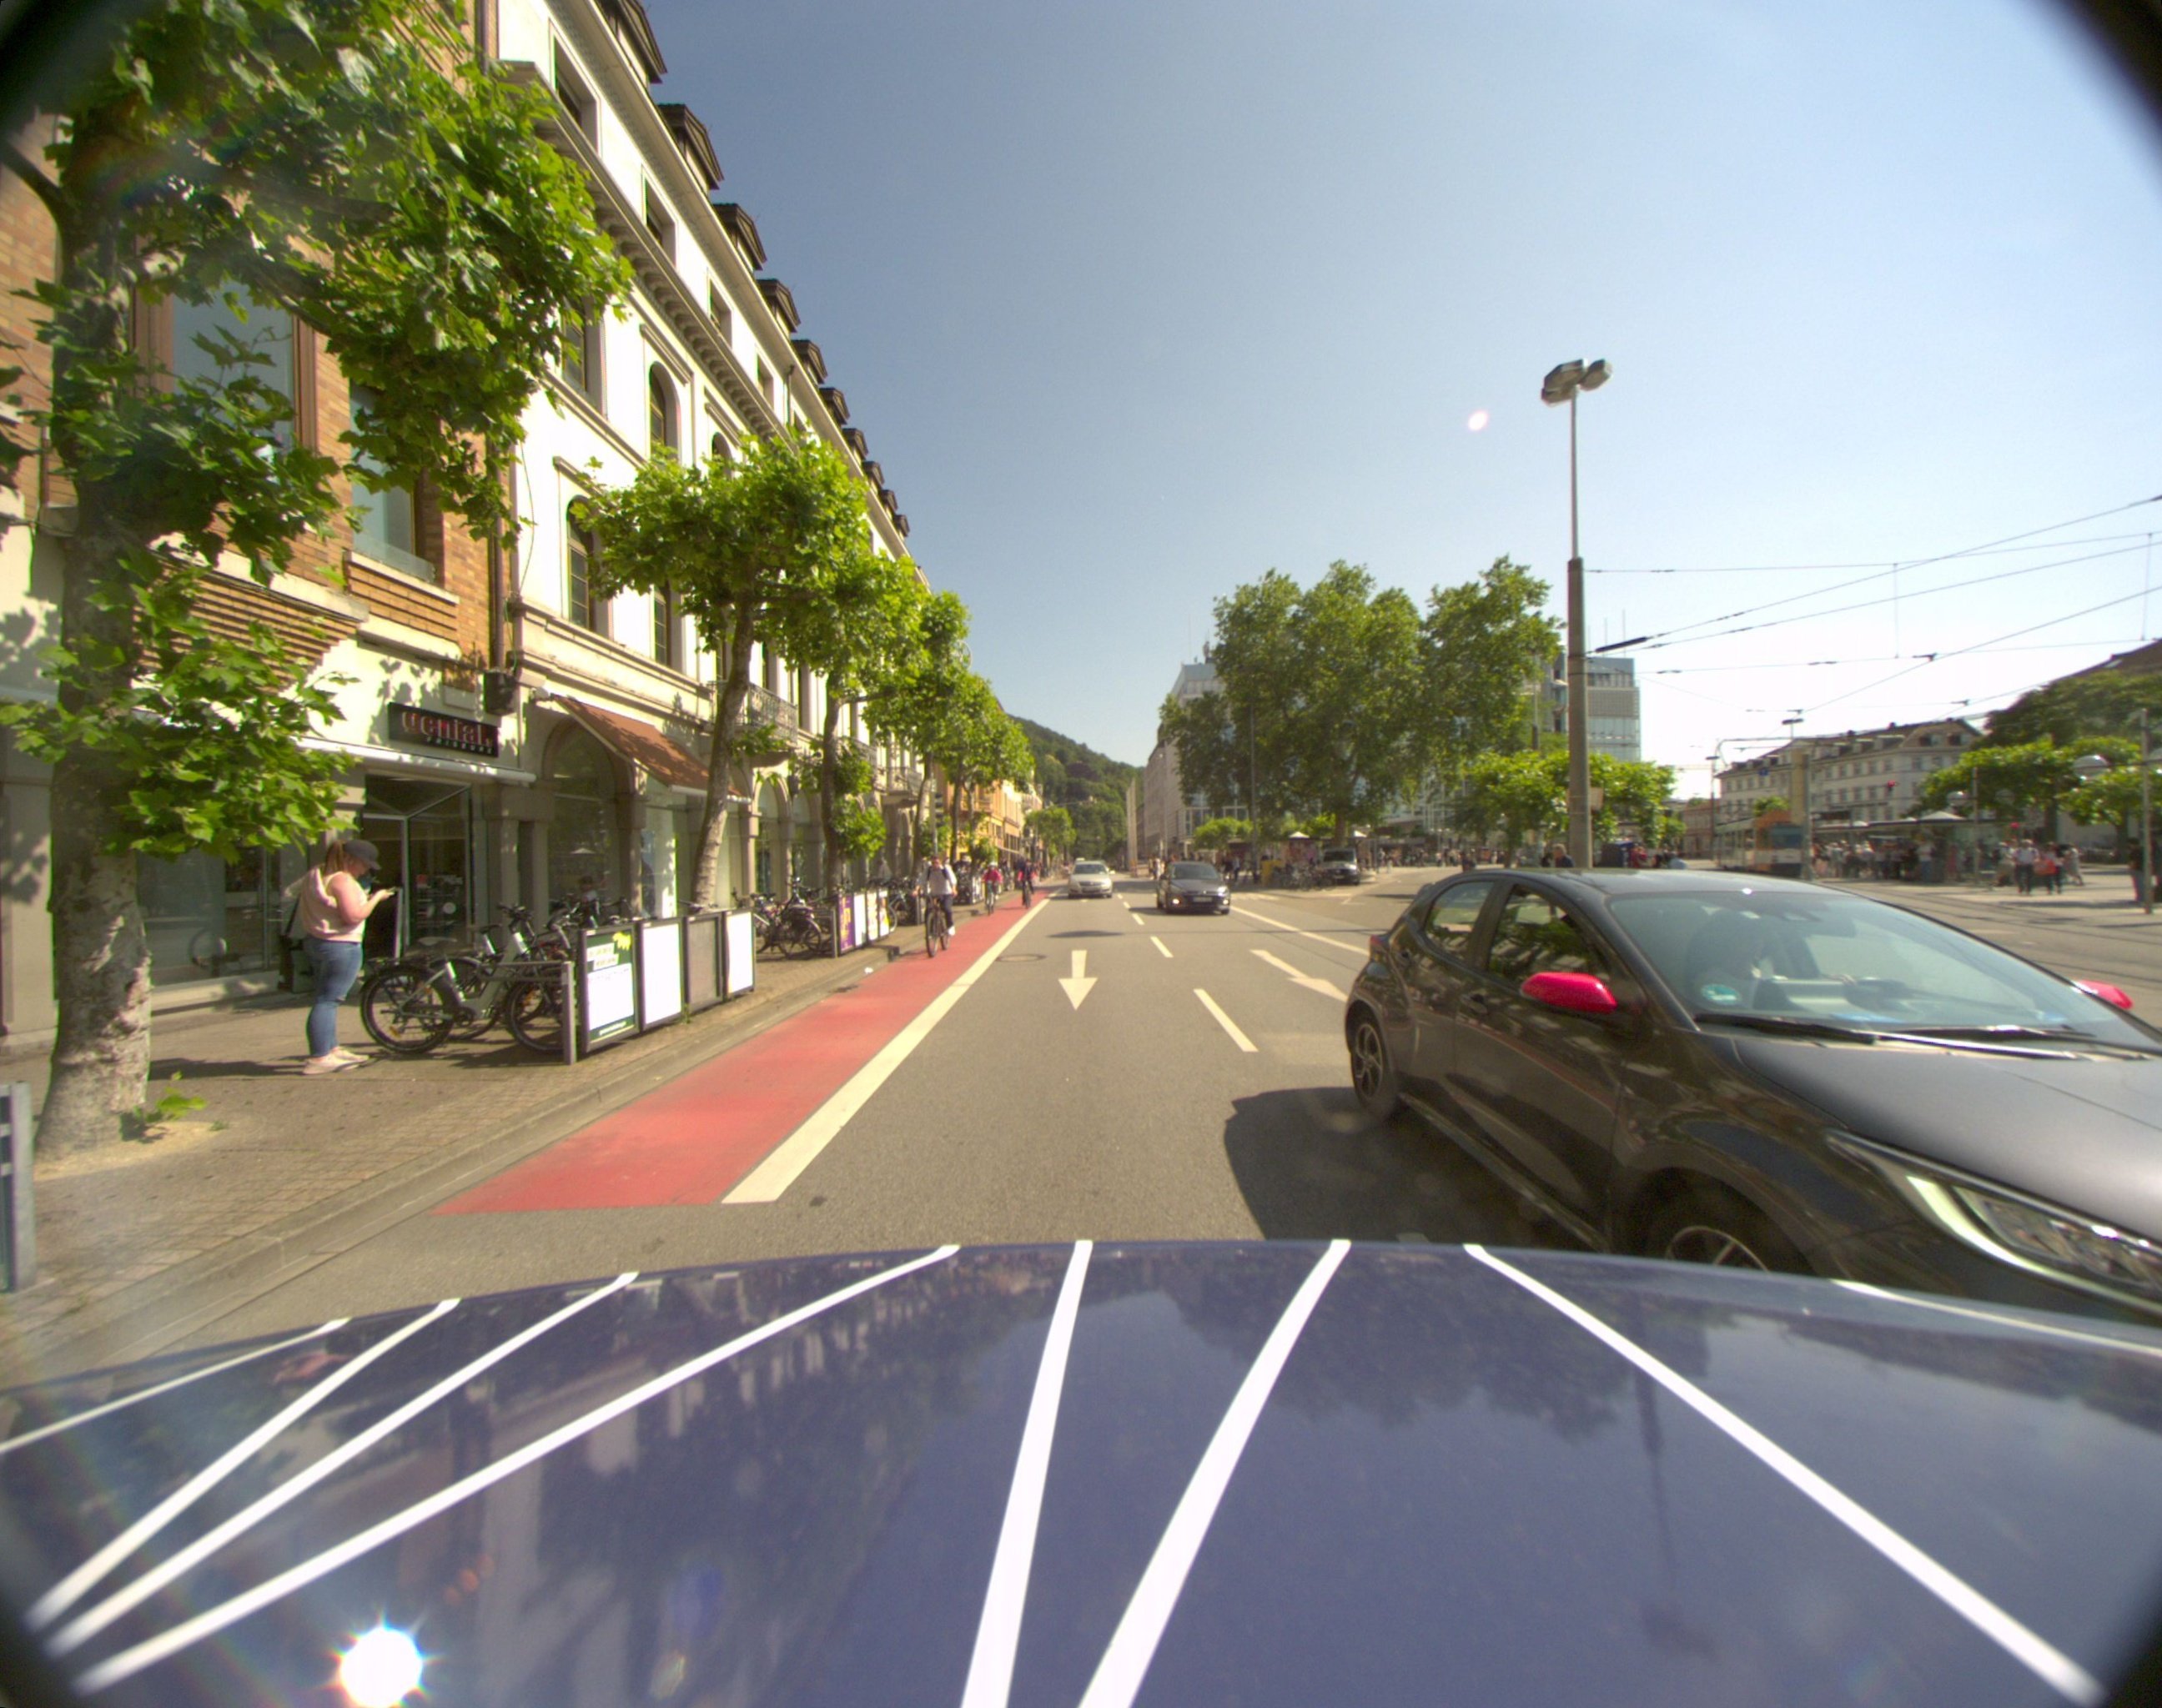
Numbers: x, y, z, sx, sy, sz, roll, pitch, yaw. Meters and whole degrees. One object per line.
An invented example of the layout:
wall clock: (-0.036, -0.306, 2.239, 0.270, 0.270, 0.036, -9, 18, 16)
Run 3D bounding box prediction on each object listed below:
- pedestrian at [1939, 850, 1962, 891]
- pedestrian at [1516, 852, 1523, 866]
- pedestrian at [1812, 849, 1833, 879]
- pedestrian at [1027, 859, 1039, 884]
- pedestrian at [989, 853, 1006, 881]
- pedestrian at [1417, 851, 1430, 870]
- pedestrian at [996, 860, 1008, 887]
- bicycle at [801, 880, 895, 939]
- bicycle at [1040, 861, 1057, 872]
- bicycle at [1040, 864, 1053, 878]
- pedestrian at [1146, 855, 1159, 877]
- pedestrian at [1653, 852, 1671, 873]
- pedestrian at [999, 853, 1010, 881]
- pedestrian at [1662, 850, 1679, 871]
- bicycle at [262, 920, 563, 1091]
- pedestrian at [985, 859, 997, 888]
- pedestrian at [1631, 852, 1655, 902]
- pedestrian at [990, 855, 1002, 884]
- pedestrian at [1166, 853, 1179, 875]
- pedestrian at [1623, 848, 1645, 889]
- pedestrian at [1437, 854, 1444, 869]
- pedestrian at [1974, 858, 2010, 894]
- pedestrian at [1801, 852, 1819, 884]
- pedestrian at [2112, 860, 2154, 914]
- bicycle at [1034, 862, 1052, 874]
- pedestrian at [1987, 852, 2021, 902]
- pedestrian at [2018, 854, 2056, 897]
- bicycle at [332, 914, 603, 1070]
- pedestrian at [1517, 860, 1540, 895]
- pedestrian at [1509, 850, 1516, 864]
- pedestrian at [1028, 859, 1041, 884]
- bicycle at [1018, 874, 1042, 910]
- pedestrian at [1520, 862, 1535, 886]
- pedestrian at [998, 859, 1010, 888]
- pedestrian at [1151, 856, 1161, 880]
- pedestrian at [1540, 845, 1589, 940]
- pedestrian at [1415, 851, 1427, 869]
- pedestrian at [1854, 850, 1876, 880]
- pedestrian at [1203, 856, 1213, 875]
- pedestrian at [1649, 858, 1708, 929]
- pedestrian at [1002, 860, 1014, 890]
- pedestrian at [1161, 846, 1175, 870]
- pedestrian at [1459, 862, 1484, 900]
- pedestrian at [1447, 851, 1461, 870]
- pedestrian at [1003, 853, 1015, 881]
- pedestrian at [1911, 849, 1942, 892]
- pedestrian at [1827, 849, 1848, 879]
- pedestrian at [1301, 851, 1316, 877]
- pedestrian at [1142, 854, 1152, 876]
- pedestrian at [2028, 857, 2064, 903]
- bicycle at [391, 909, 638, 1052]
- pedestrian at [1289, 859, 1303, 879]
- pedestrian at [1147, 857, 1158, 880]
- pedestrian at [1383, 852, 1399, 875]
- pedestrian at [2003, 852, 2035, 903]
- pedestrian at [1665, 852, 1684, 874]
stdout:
pedestrian: (36.823, 0.684, 32.190, 0.559, 1.708, 0.465, 2, 0, -22)
pedestrian: (48.051, 0.529, 83.211, 0.554, 1.464, 0.759, -3, 0, 37)
pedestrian: (39.685, 0.533, 40.665, 0.577, 1.540, 0.682, 1, -1, 27)
pedestrian: (-3.325, 1.198, 52.582, 0.606, 1.726, 0.647, -3, 2, -22)
pedestrian: (-5.678, 0.892, 51.693, 0.621, 1.834, 0.857, -2, 1, 39)
pedestrian: (31.325, 0.571, 69.534, 0.752, 1.737, 0.782, -3, 0, -10)
pedestrian: (-4.710, 1.148, 45.155, 0.578, 1.574, 0.622, -3, 0, -3)
bicycle: (-4.794, 1.134, 15.661, 1.757, 1.140, 0.483, -1, 0, -1)
bicycle: (-3.421, 1.318, 79.842, 1.757, 1.140, 0.592, -1, 0, -1)
bicycle: (-2.901, 1.440, 63.878, 0.737, 1.086, 1.895, 2, 0, -13)
pedestrian: (5.820, 0.955, 61.960, 0.876, 1.737, 0.733, -3, 0, -1)
pedestrian: (40.330, 0.581, 52.745, 0.757, 1.464, 0.555, -3, 0, 0)
pedestrian: (-4.994, 0.824, 49.769, 0.578, 1.792, 0.697, -3, 0, -3)
pedestrian: (41.770, 0.454, 53.830, 0.757, 1.464, 0.555, -3, 0, 0)
bicycle: (-4.936, 1.100, 5.668, 1.757, 1.140, 0.483, -1, 0, -1)
pedestrian: (-5.346, 1.149, 45.018, 0.578, 1.674, 0.622, -3, 0, -3)
pedestrian: (19.816, 0.793, 26.798, 0.623, 1.735, 0.682, 1, -1, 35)
pedestrian: (-5.197, 0.952, 46.414, 0.578, 1.714, 0.622, -3, 0, -3)
pedestrian: (7.258, 0.808, 60.417, 0.751, 1.737, 0.733, -3, 0, -9)
pedestrian: (24.635, 0.647, 33.853, 0.577, 1.830, 0.682, 1, 0, 21)
pedestrian: (34.838, 0.737, 73.615, 0.464, 1.464, 0.410, -3, 0, -2)
pedestrian: (36.765, 0.883, 30.657, 0.624, 1.457, 0.681, 1, 0, 6)
pedestrian: (36.031, 0.701, 37.541, 0.477, 1.540, 0.451, 2, 1, -26)
pedestrian: (28.045, 0.869, 20.259, 0.682, 1.410, 0.623, 2, -1, -37)
bicycle: (-3.797, 1.445, 76.495, 1.757, 1.140, 0.592, -1, 0, -1)
pedestrian: (32.048, 0.791, 26.384, 0.561, 1.720, 0.588, 2, 0, -22)
pedestrian: (34.357, 0.775, 27.312, 0.626, 1.492, 0.679, 2, -1, -22)
bicycle: (-4.950, 1.094, 6.190, 1.757, 1.140, 0.483, -1, 0, -1)
pedestrian: (19.369, 1.008, 32.897, 0.727, 1.457, 0.682, 1, -1, 21)
pedestrian: (48.167, 0.328, 84.879, 0.554, 1.464, 0.759, -3, 0, 37)
pedestrian: (-3.127, 1.182, 51.337, 0.579, 1.674, 0.726, -3, 0, -22)
bicycle: (-1.677, 1.244, 25.152, 0.667, 1.086, 1.897, -3, 0, -2)
pedestrian: (24.151, 1.066, 41.095, 0.497, 1.246, 0.484, -3, 0, -1)
pedestrian: (-4.503, 1.129, 44.440, 0.578, 1.674, 0.775, -3, 0, -3)
pedestrian: (5.507, 1.044, 55.625, 0.575, 1.704, 0.652, -3, 0, -1)
pedestrian: (10.494, 0.817, 16.490, 0.897, 1.995, 0.678, 1, 0, -43)
pedestrian: (32.924, 0.576, 73.569, 0.750, 1.737, 0.784, -3, 0, 39)
pedestrian: (39.737, 0.561, 38.531, 0.681, 1.540, 0.577, 2, -1, -26)
pedestrian: (11.475, 1.006, 68.582, 0.732, 1.660, 0.640, -3, 0, 14)
pedestrian: (14.297, 0.926, 18.188, 0.895, 1.649, 0.680, 0, 0, -9)
pedestrian: (-4.145, 1.178, 43.121, 0.578, 1.674, 0.622, -3, 0, -3)
pedestrian: (6.528, 0.288, 57.116, 0.722, 1.737, 0.884, -3, 0, -9)
pedestrian: (15.278, 1.040, 29.737, 0.624, 1.457, 0.680, 1, 0, 1)
pedestrian: (34.349, 0.596, 69.908, 0.752, 1.737, 0.782, -3, 0, -10)
pedestrian: (-4.803, 0.871, 50.953, 0.686, 1.847, 0.622, -3, 0, -3)
pedestrian: (35.167, 0.678, 31.596, 0.626, 1.784, 0.679, 2, 0, -22)
pedestrian: (39.176, 0.530, 39.358, 0.681, 1.540, 0.577, 2, -1, -26)
pedestrian: (13.230, 0.557, 44.183, 0.579, 1.452, 0.787, -3, 0, 34)
pedestrian: (5.343, 0.889, 61.136, 0.639, 1.737, 0.733, -3, 0, -1)
pedestrian: (30.771, 0.820, 24.225, 0.626, 1.457, 0.552, 2, 0, -22)
bicycle: (-4.950, 1.092, 6.696, 1.757, 1.140, 0.483, -1, 0, -1)
pedestrian: (13.744, 0.984, 48.546, 0.671, 1.234, 0.615, -3, 0, 1)
pedestrian: (5.509, 1.133, 58.498, 0.639, 1.737, 0.733, -3, 0, -1)
pedestrian: (23.460, 0.716, 57.491, 0.752, 1.737, 0.782, -3, 0, -10)
pedestrian: (30.671, 0.764, 24.854, 0.473, 1.656, 0.521, 2, 0, -22)
pedestrian: (40.391, 0.584, 51.699, 0.757, 1.464, 0.555, -3, 0, 0)
